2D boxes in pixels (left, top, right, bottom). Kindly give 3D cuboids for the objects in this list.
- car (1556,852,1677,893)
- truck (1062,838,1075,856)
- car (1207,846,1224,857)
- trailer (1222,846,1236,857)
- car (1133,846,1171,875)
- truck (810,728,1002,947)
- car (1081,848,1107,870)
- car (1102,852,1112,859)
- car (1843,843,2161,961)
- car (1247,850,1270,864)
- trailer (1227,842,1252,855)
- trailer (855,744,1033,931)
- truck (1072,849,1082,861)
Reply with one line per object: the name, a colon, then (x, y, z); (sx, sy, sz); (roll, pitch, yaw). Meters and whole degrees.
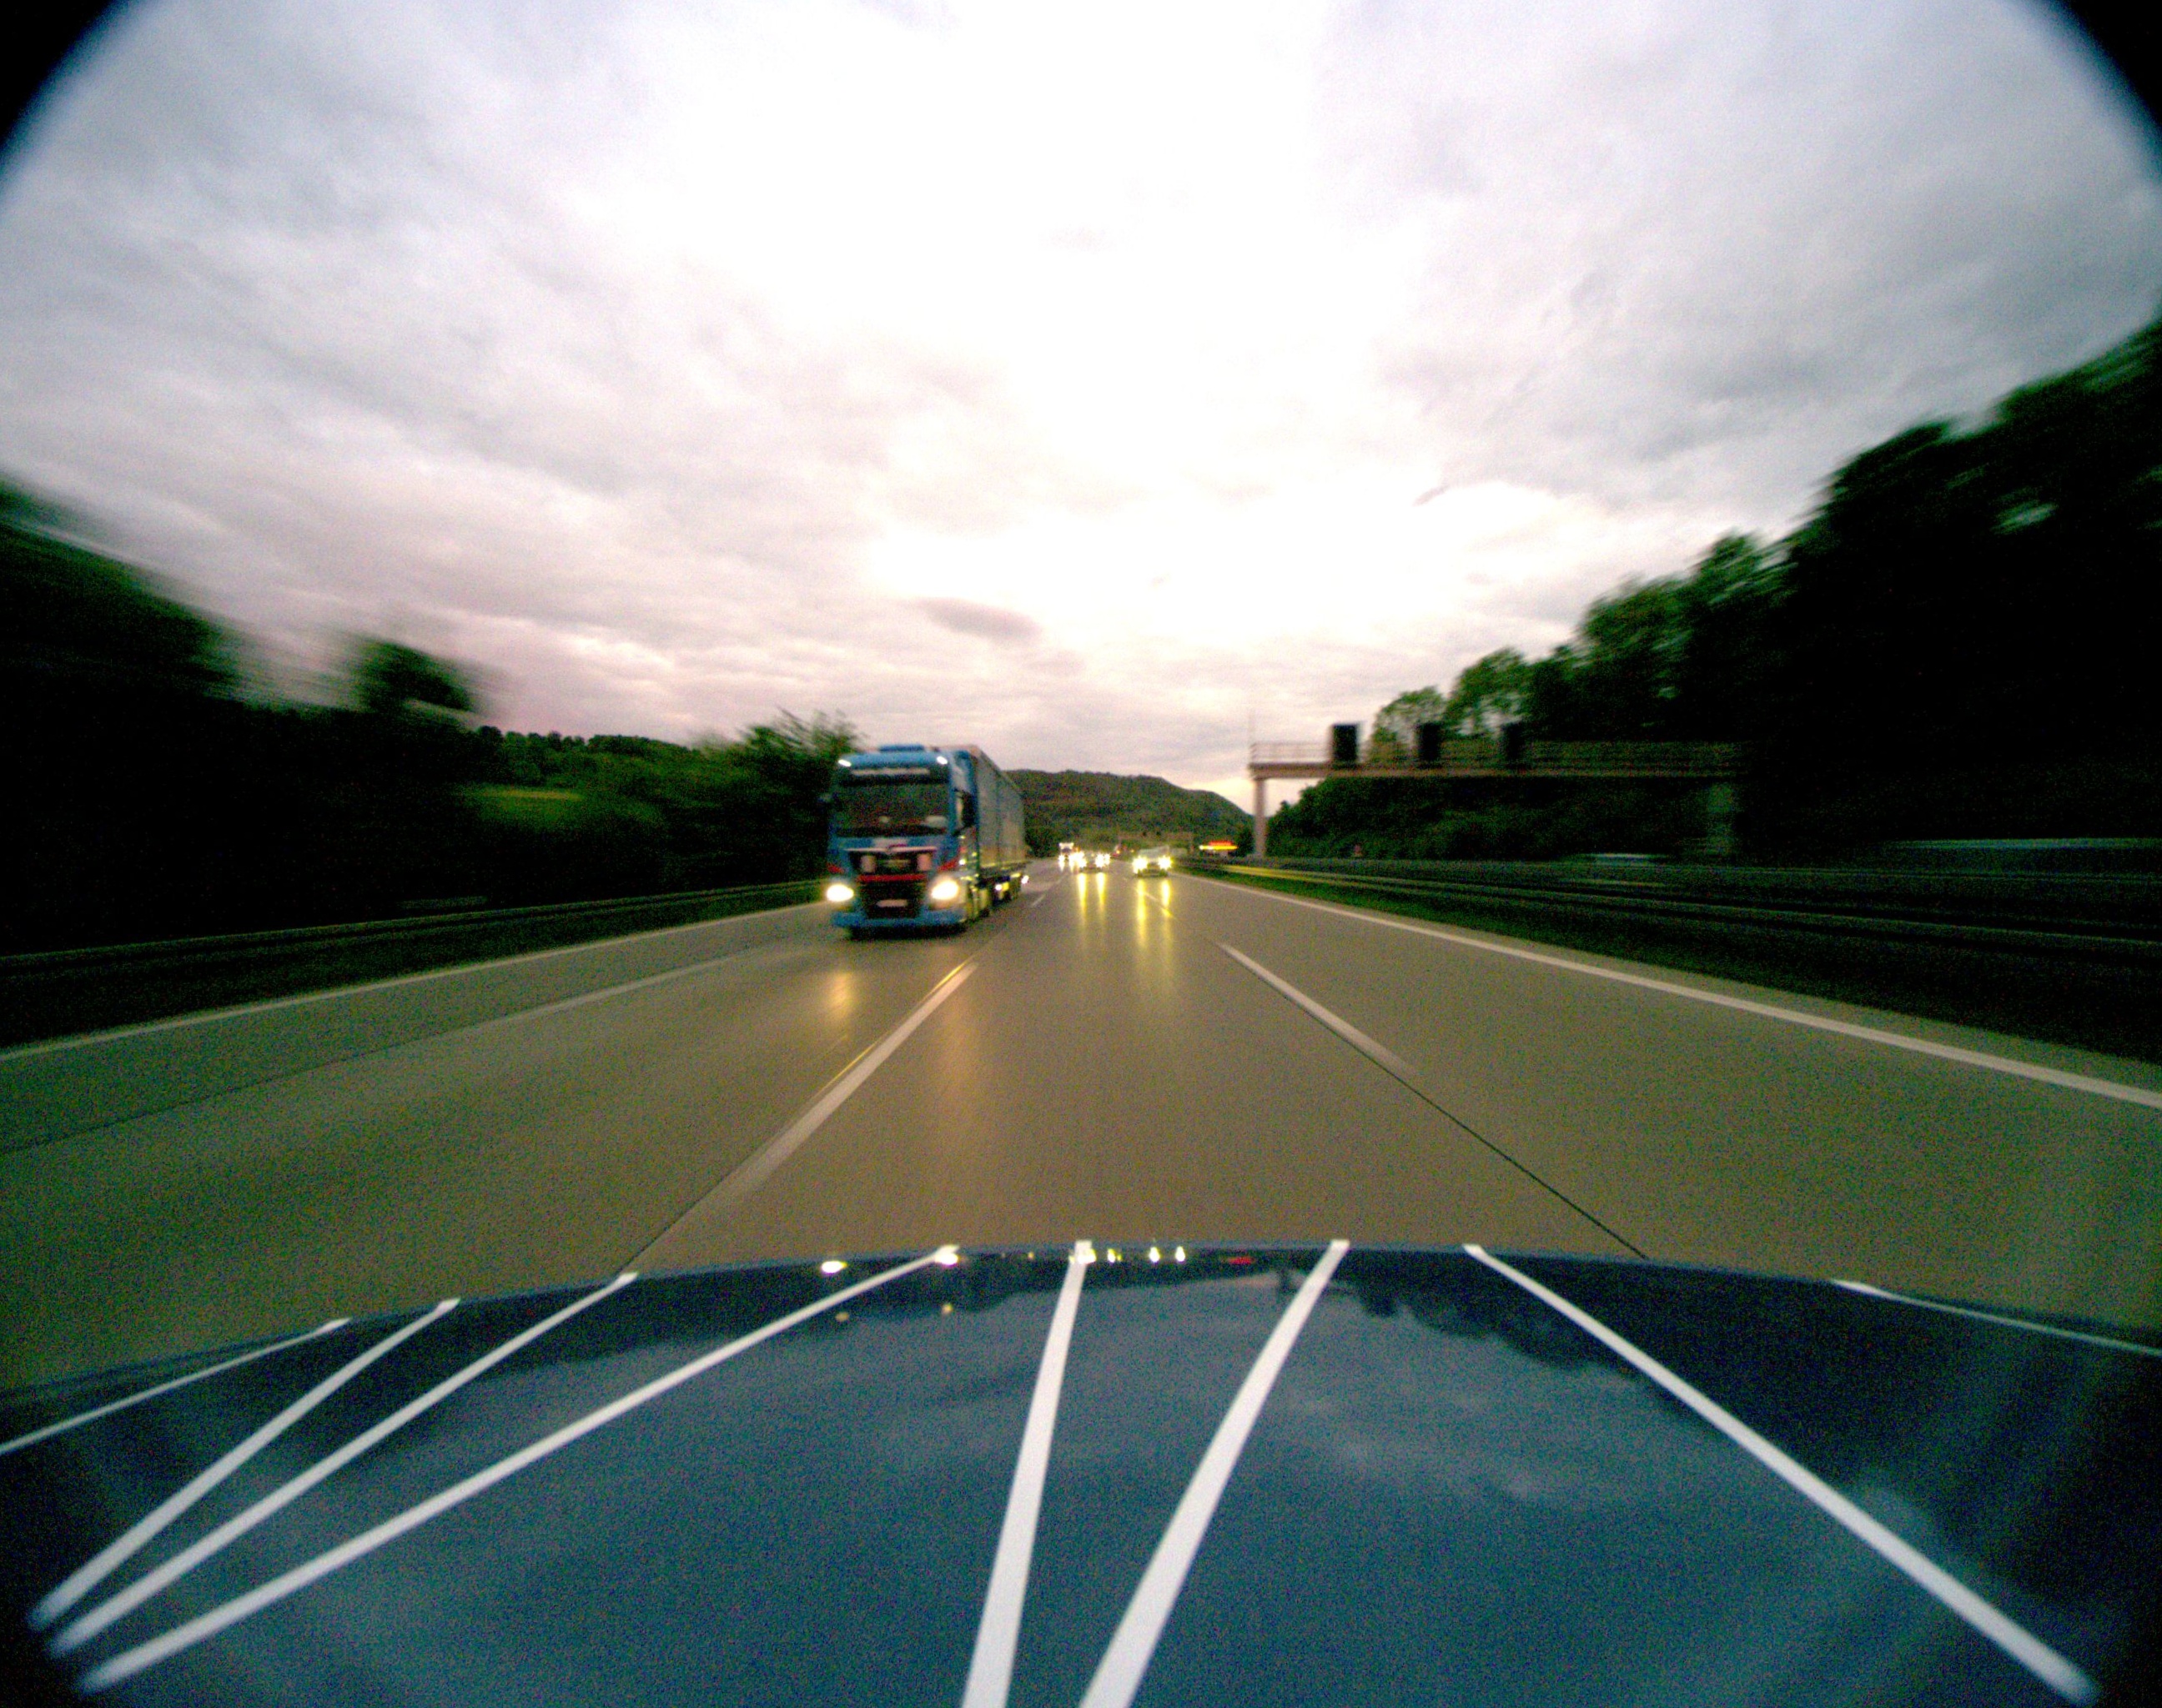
car: (21.222, 0.672, 30.362); (1.766, 1.473, 4.390); (-1, 1, 0)
truck: (-2.549, -1.523, 161.535); (2.623, 3.805, 10.384); (0, 1, 0)
car: (22.832, -0.410, 129.434); (1.853, 1.724, 5.660); (-1, 1, 0)
trailer: (51.239, -0.782, 263.382); (2.880, 3.657, 12.717); (-1, 0, 1)
car: (4.426, 0.368, 47.978); (1.894, 1.650, 5.639); (-1, 1, 0)
truck: (-3.540, -0.321, 16.951); (2.743, 3.973, 5.849); (-2, 1, 1)
car: (1.030, 0.358, 59.980); (1.927, 1.674, 4.806); (0, 1, 1)
car: (5.558, 0.256, 162.045); (1.898, 1.503, 3.999); (-1, 0, -1)
car: (16.332, 0.672, 13.196); (1.766, 1.684, 4.458); (-1, 1, 0)
car: (22.023, 0.405, 94.401); (1.853, 1.629, 4.775); (-1, 1, 0)
trailer: (47.618, -1.779, 227.812); (3.063, 3.657, 13.368); (-1, 0, 31)
trailer: (-3.479, -0.418, 23.738); (2.779, 4.063, 13.738); (-2, 1, 1)
truck: (-1.167, 0.267, 257.162); (3.120, 3.850, 14.161); (2, 0, 0)
